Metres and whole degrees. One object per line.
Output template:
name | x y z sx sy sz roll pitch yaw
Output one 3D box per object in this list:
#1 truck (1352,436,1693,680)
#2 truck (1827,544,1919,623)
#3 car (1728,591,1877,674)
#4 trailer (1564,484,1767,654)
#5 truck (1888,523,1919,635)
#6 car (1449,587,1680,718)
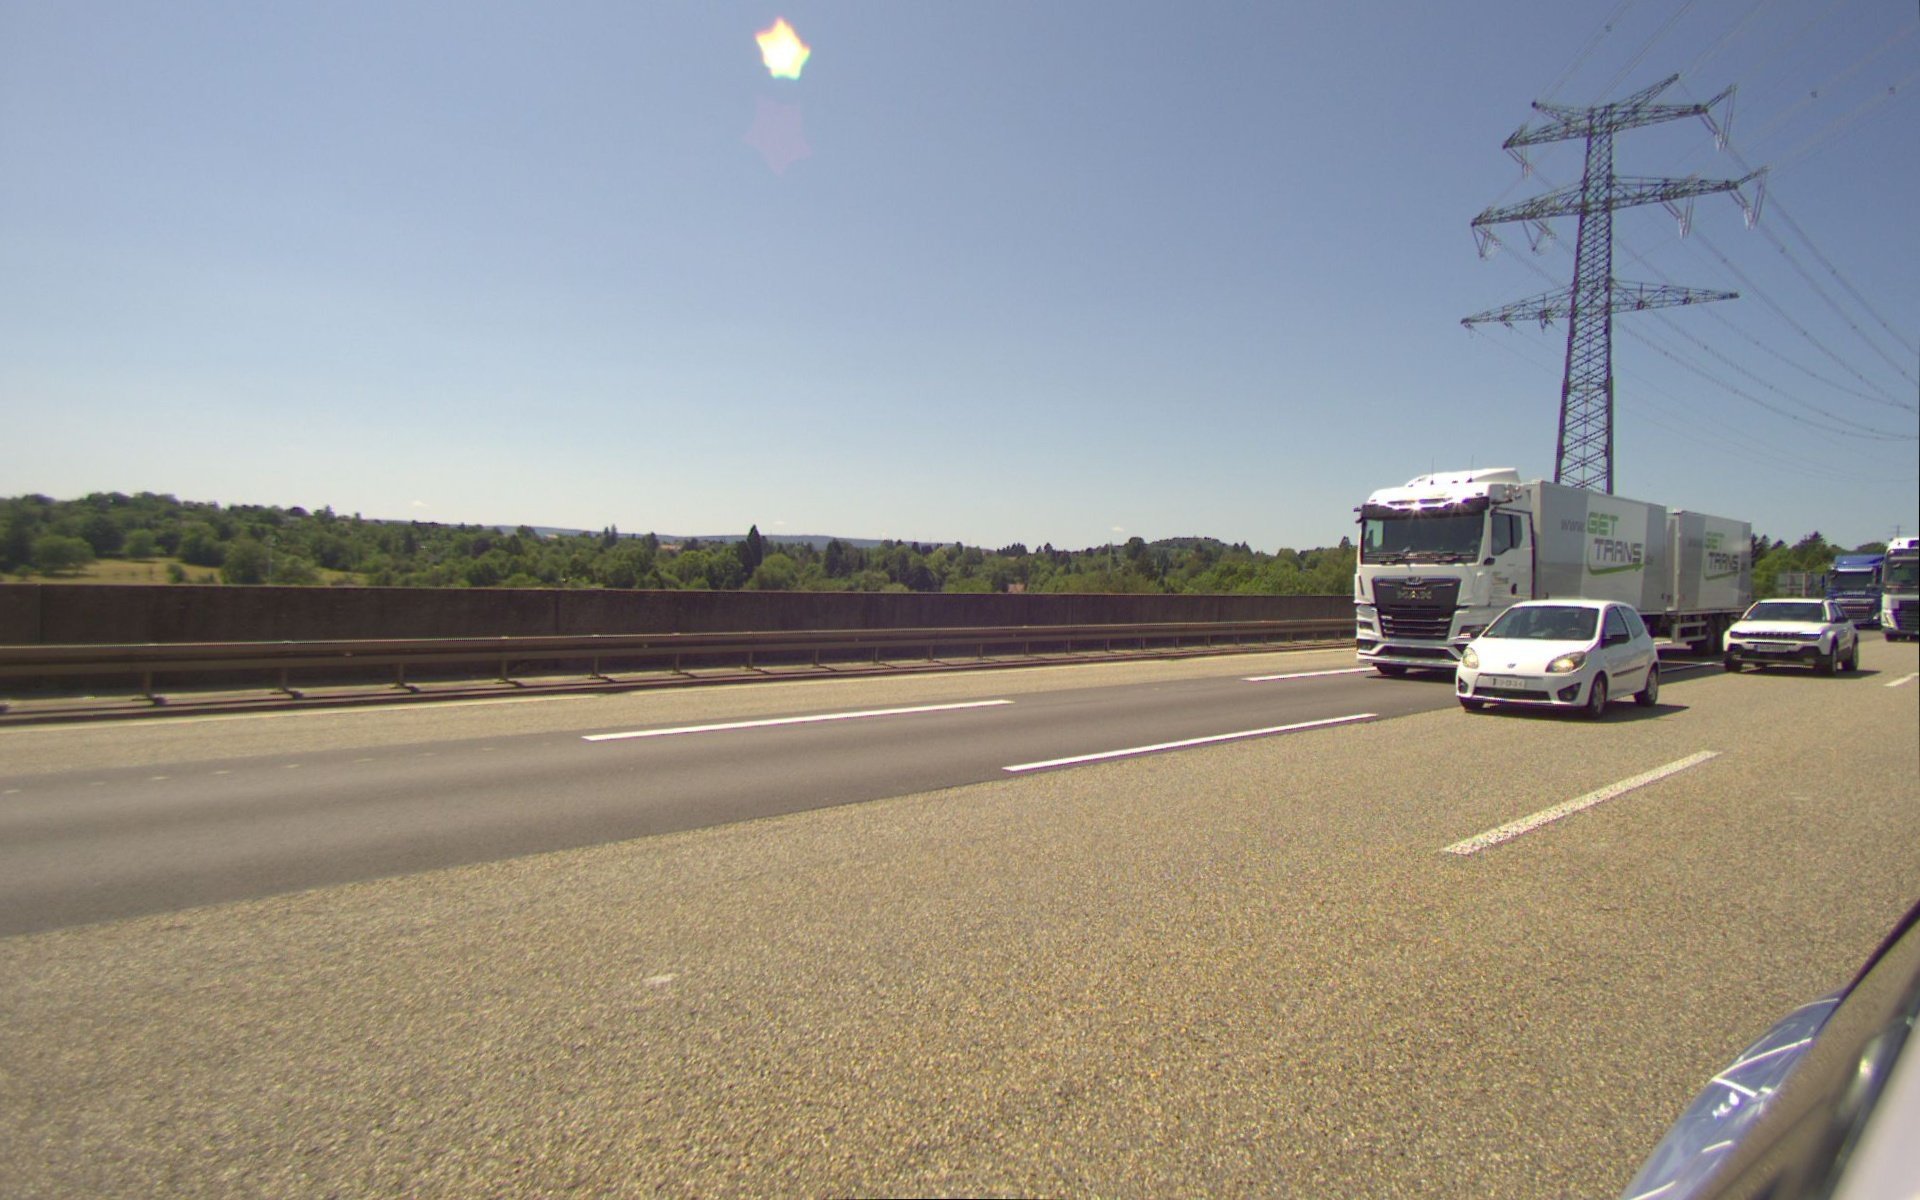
truck | 12.239 -0.703 21.220 11.100 3.980 2.693 0 0 -41
truck | 50.353 -0.904 55.413 11.079 3.929 2.838 -1 0 -42
car | 17.610 0.613 21.112 3.784 1.549 1.775 -1 0 -40
trailer | 19.269 -0.746 27.423 7.638 3.991 2.749 0 0 -41
truck | 40.623 -0.746 41.065 14.003 4.090 2.716 0 0 -41
car | 8.274 0.603 13.723 3.760 1.529 1.657 -1 0 -42
